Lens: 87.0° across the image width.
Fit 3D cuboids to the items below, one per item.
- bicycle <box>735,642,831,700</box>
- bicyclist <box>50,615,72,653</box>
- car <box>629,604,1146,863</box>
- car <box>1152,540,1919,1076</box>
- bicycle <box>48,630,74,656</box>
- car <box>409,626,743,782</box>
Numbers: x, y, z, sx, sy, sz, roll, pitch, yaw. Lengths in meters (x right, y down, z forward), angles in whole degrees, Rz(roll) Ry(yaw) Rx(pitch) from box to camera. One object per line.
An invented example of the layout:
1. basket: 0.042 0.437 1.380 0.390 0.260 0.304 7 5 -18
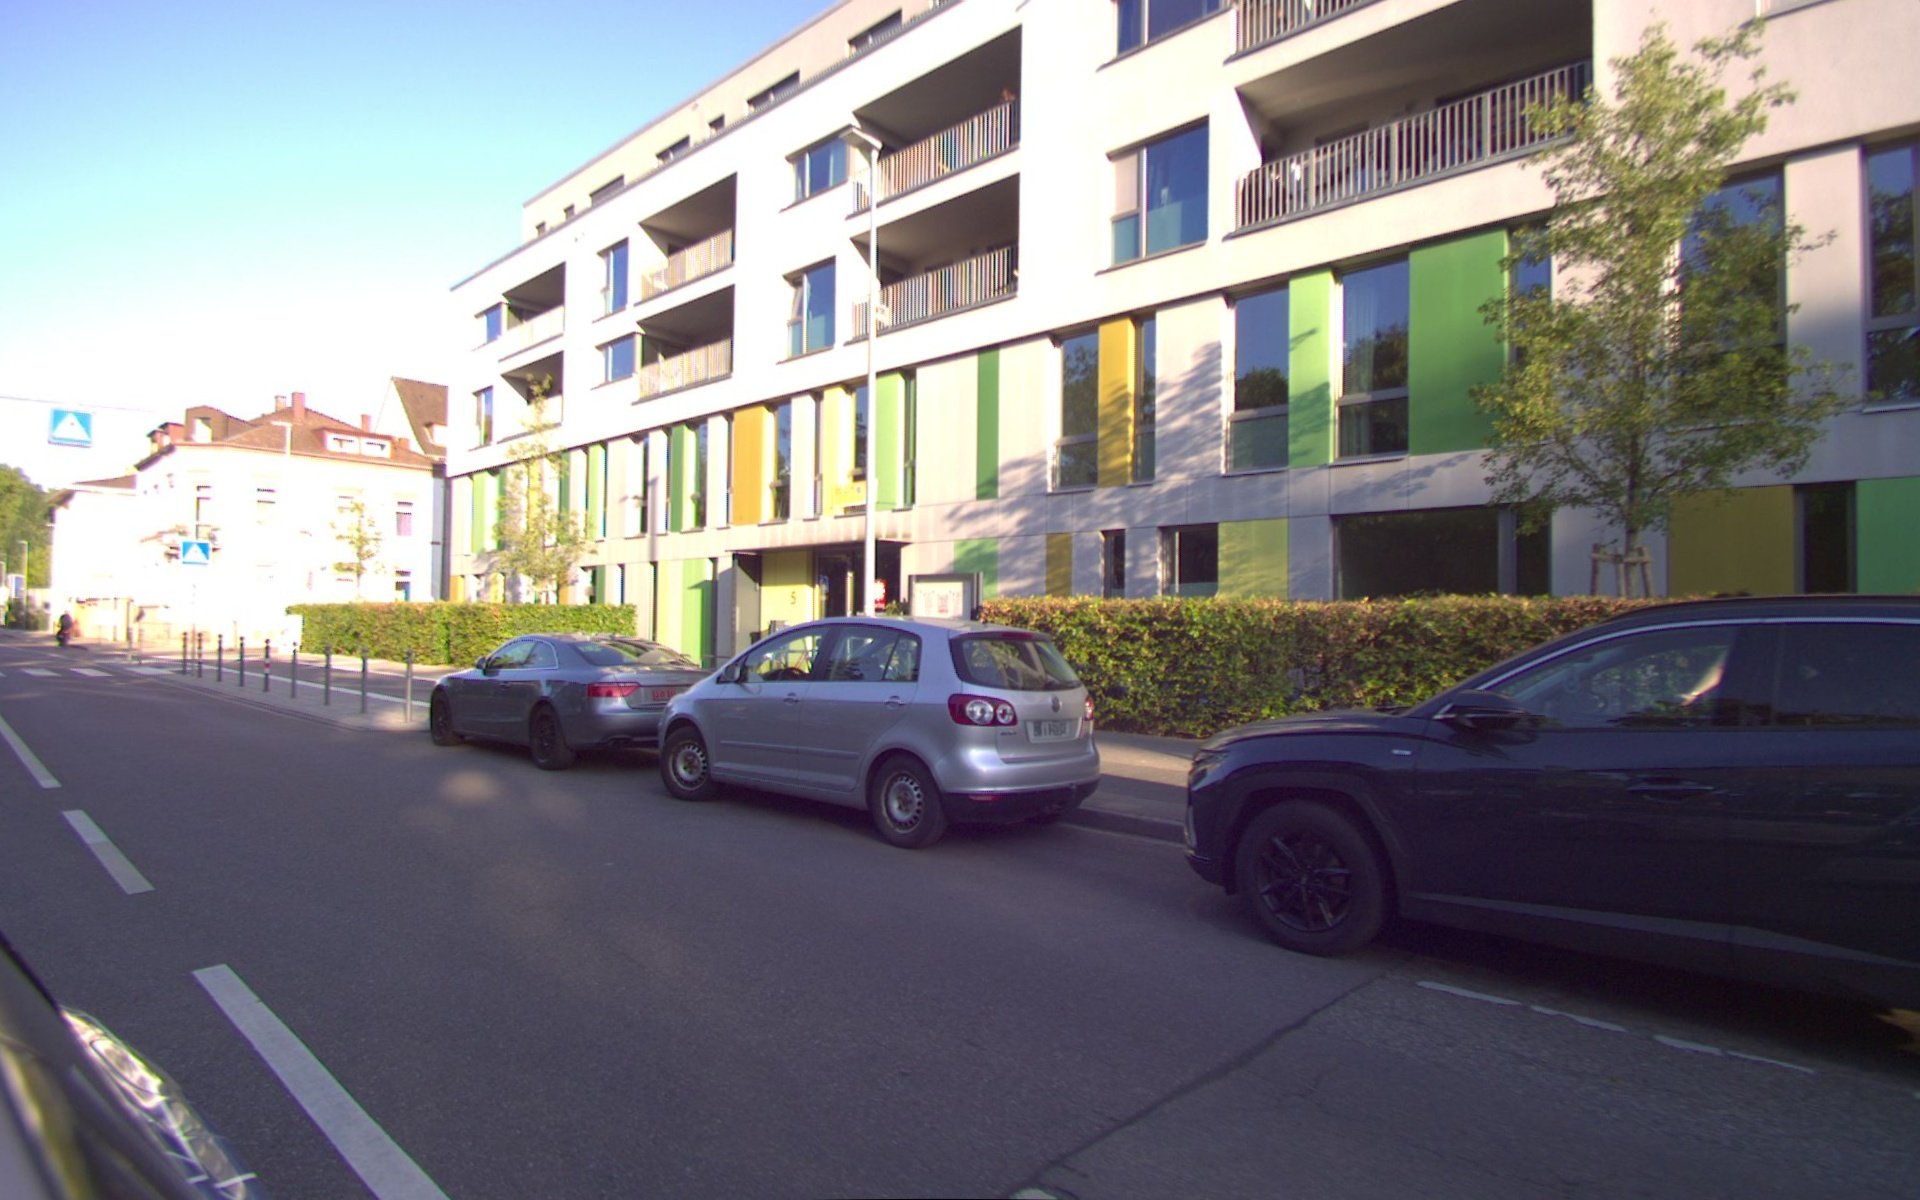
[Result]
1. bicycle: -3.228 1.278 18.568 0.617 0.925 1.733 0 0 41
2. bicyclist: -39.555 1.488 44.536 0.757 1.657 0.620 -1 -2 42
3. car: -0.752 0.845 8.080 4.113 1.545 1.724 -1 -2 41
4. car: 3.173 0.694 4.247 4.415 1.689 1.723 -1 -3 42
5. bicycle: -39.571 1.880 44.541 1.883 1.086 0.627 -1 -2 42
6. car: -4.452 1.003 11.360 4.396 1.367 1.723 0 -2 43
